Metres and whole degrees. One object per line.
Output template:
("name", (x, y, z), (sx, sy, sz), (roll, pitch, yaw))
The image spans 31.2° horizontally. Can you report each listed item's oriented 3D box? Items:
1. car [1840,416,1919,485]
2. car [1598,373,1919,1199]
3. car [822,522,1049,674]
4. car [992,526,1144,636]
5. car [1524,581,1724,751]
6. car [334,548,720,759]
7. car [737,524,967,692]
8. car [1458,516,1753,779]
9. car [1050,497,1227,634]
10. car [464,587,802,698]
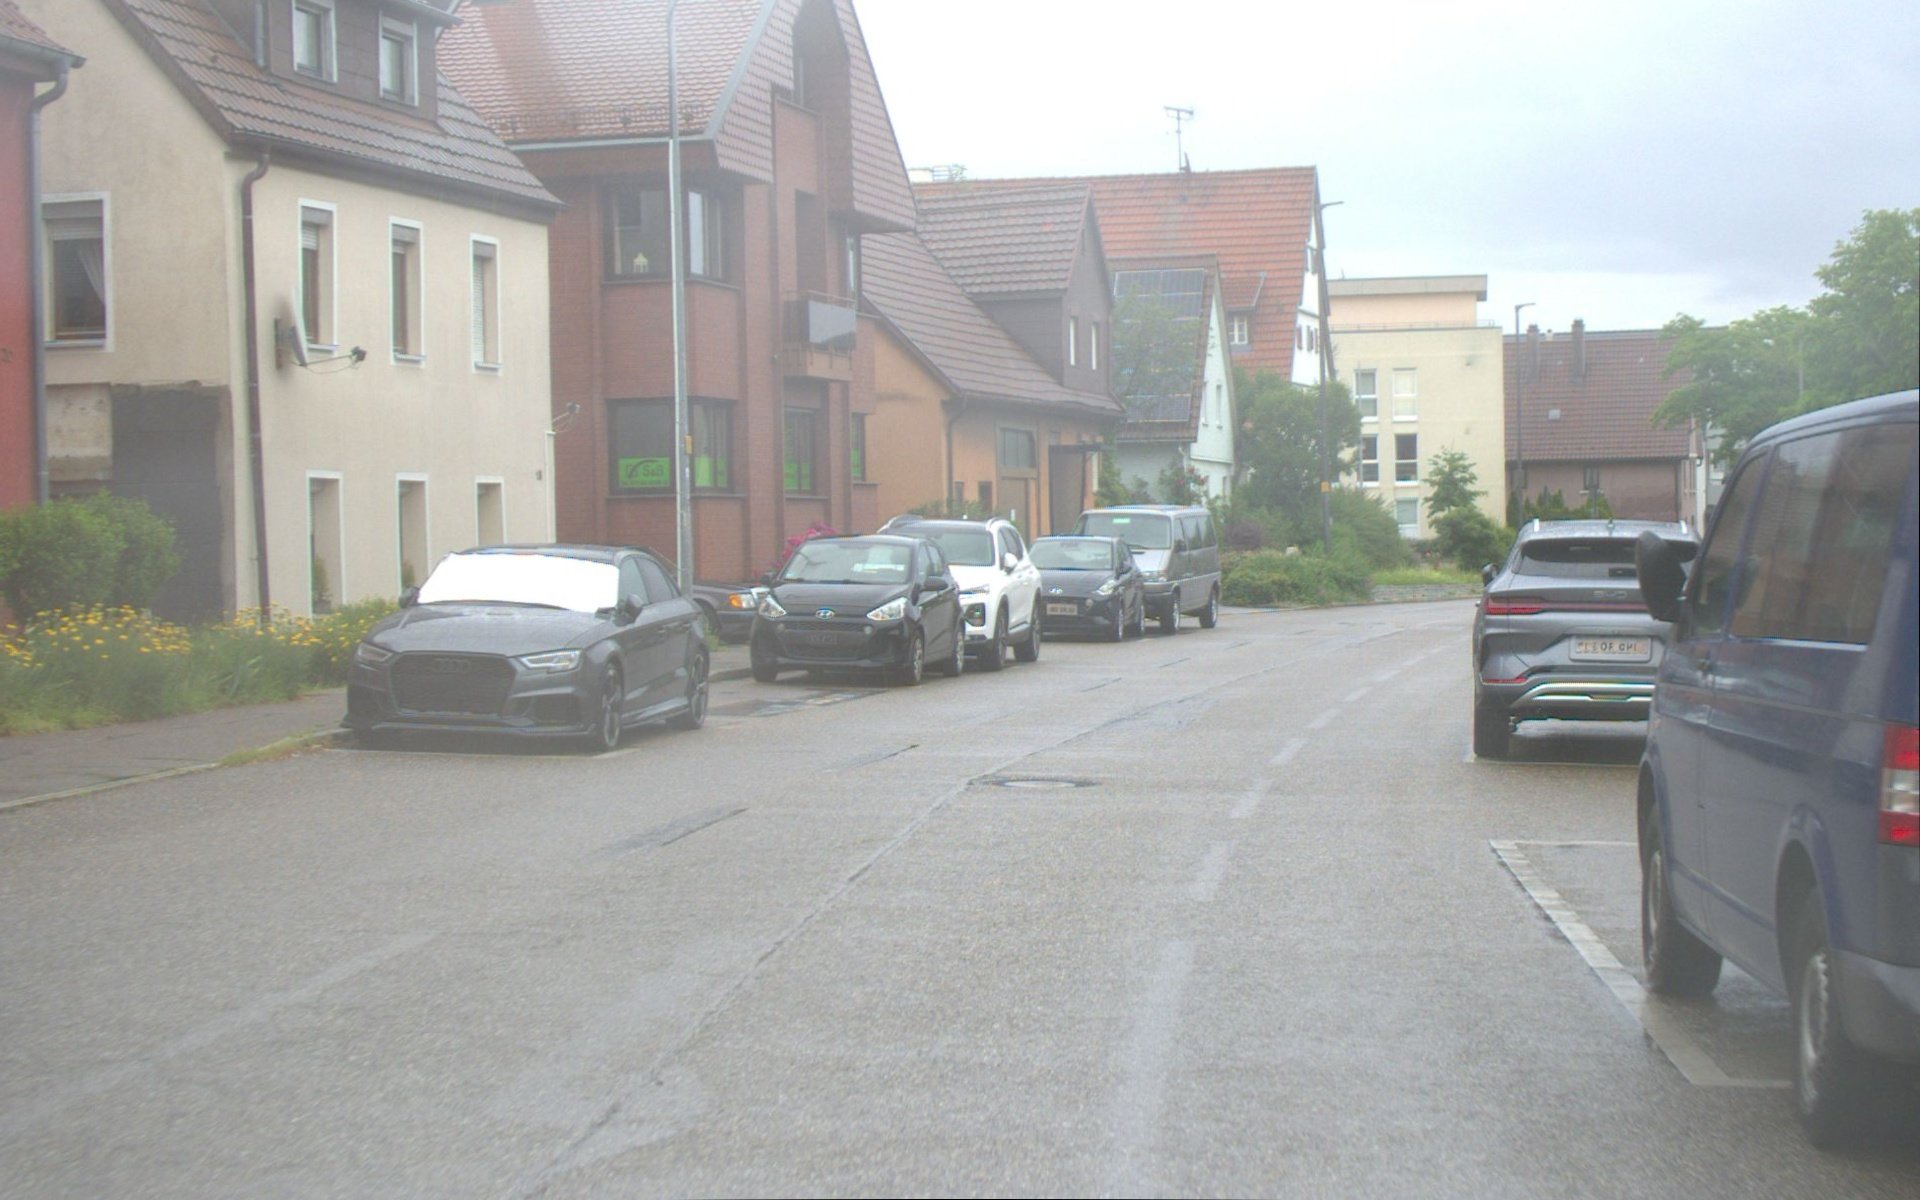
("car", (20.805, -3.353, 77.669), (1.639, 1.425, 3.674), (-1, 1, 17))
("car", (3.139, 0.432, 9.947), (1.931, 1.896, 4.793), (1, 1, 3))
("car", (-0.203, -0.053, 39.145), (1.765, 1.613, 4.654), (-1, 1, 10))
("car", (1.563, -0.282, 48.836), (1.579, 1.492, 3.565), (-1, 1, 11))
("car", (6.785, 0.625, 35.479), (1.803, 1.589, 4.610), (1, 1, 8))
("car", (-3.023, 0.324, 24.854), (1.627, 1.351, 4.109), (2, 1, 10))
("car", (-1.046, 0.061, 34.873), (1.606, 1.612, 3.275), (-1, 1, 11))
("car", (4.774, 0.279, 25.388), (1.909, 1.711, 4.554), (2, 1, 11))
("car", (2.850, -0.551, 53.703), (1.822, 2.007, 5.211), (-1, 1, 13))
("car", (-4.413, 0.572, 46.506), (4.175, 1.398, 1.787), (-1, 1, 18))
